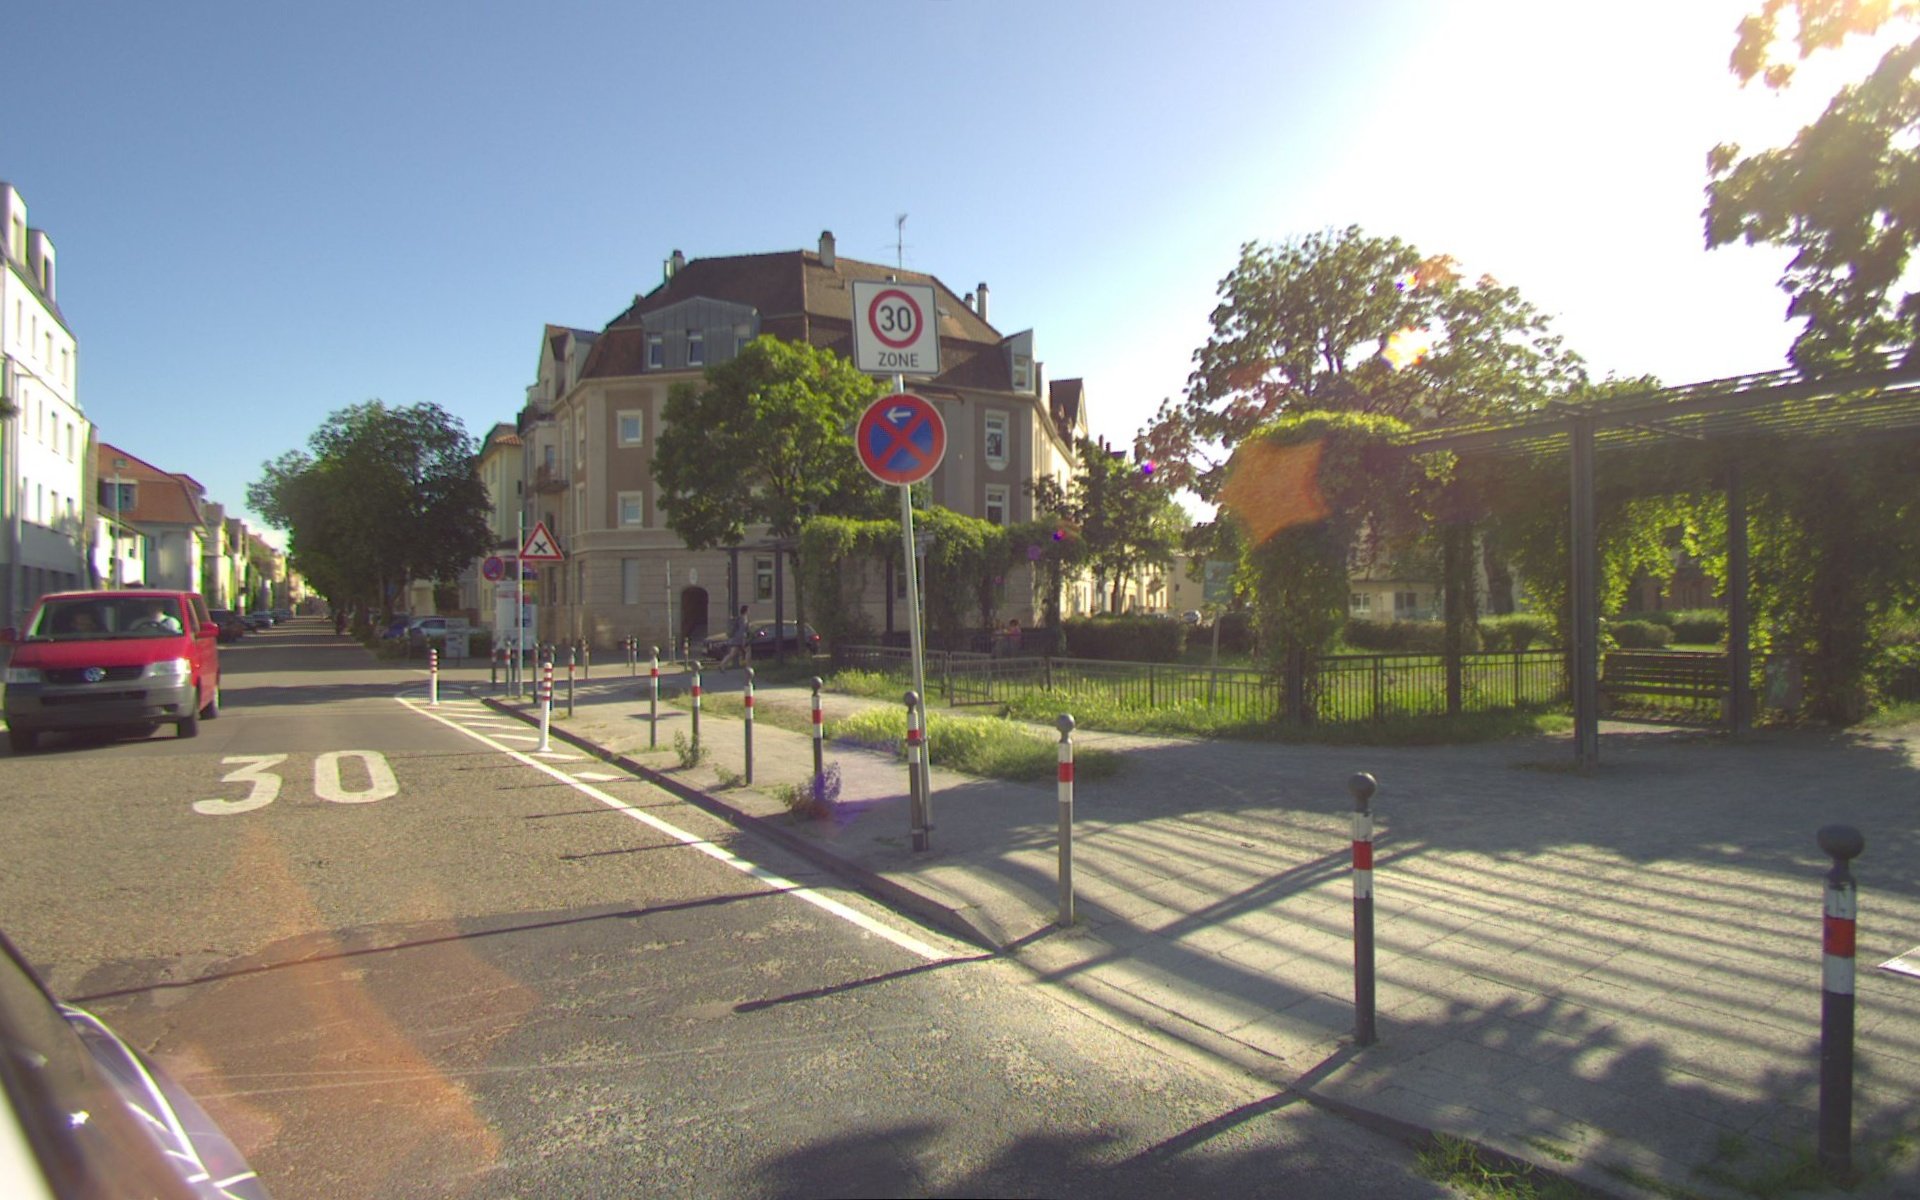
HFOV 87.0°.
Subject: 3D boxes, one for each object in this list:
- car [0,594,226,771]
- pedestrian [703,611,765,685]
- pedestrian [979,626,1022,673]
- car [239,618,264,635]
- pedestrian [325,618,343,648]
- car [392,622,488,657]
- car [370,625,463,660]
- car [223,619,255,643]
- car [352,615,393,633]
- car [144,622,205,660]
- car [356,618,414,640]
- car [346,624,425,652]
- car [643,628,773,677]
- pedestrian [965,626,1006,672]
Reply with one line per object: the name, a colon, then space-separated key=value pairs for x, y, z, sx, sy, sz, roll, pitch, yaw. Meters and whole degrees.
car: x=-11.475 y=0.970 z=13.917 sx=1.865 sy=1.975 sz=4.900 roll=-1 pitch=-1 yaw=-32
pedestrian: x=-5.441 y=1.130 z=24.366 sx=0.913 sy=1.686 sz=1.076 roll=-1 pitch=1 yaw=39
pedestrian: x=0.998 y=1.212 z=25.071 sx=0.860 sy=1.147 sz=0.601 roll=1 pitch=-2 yaw=-32
car: x=-73.764 y=2.772 z=105.372 sx=1.854 sy=1.757 sz=4.414 roll=1 pitch=-2 yaw=-32
pedestrian: x=-42.833 y=2.260 z=69.269 sx=1.006 sy=2.029 sz=1.073 roll=1 pitch=-2 yaw=-34
car: x=-23.972 y=1.798 z=46.722 sx=3.728 sy=1.455 sz=1.696 roll=-1 pitch=-1 yaw=-36
car: x=-25.819 y=1.994 z=48.130 sx=3.728 sy=1.506 sz=1.696 roll=-1 pitch=-1 yaw=-36
car: x=-59.345 y=2.520 z=83.319 sx=1.854 sy=1.886 sz=4.414 roll=1 pitch=-2 yaw=-32
car: x=-58.992 y=2.363 z=101.646 sx=3.472 sy=1.716 sz=1.696 roll=-1 pitch=-1 yaw=-35
car: x=-34.479 y=1.773 z=44.524 sx=1.638 sy=1.553 sz=4.077 roll=4 pitch=-3 yaw=-32
car: x=-41.912 y=2.117 z=73.784 sx=3.473 sy=1.506 sz=1.696 roll=-1 pitch=-1 yaw=-38
car: x=-34.014 y=2.251 z=59.970 sx=1.693 sy=1.506 sz=3.736 roll=-2 pitch=-1 yaw=44
car: x=-8.787 y=1.797 z=35.382 sx=3.948 sy=1.494 sz=1.873 roll=1 pitch=1 yaw=-36
pedestrian: x=0.651 y=1.228 z=25.659 sx=0.832 sy=1.158 sz=0.601 roll=1 pitch=-2 yaw=-32
